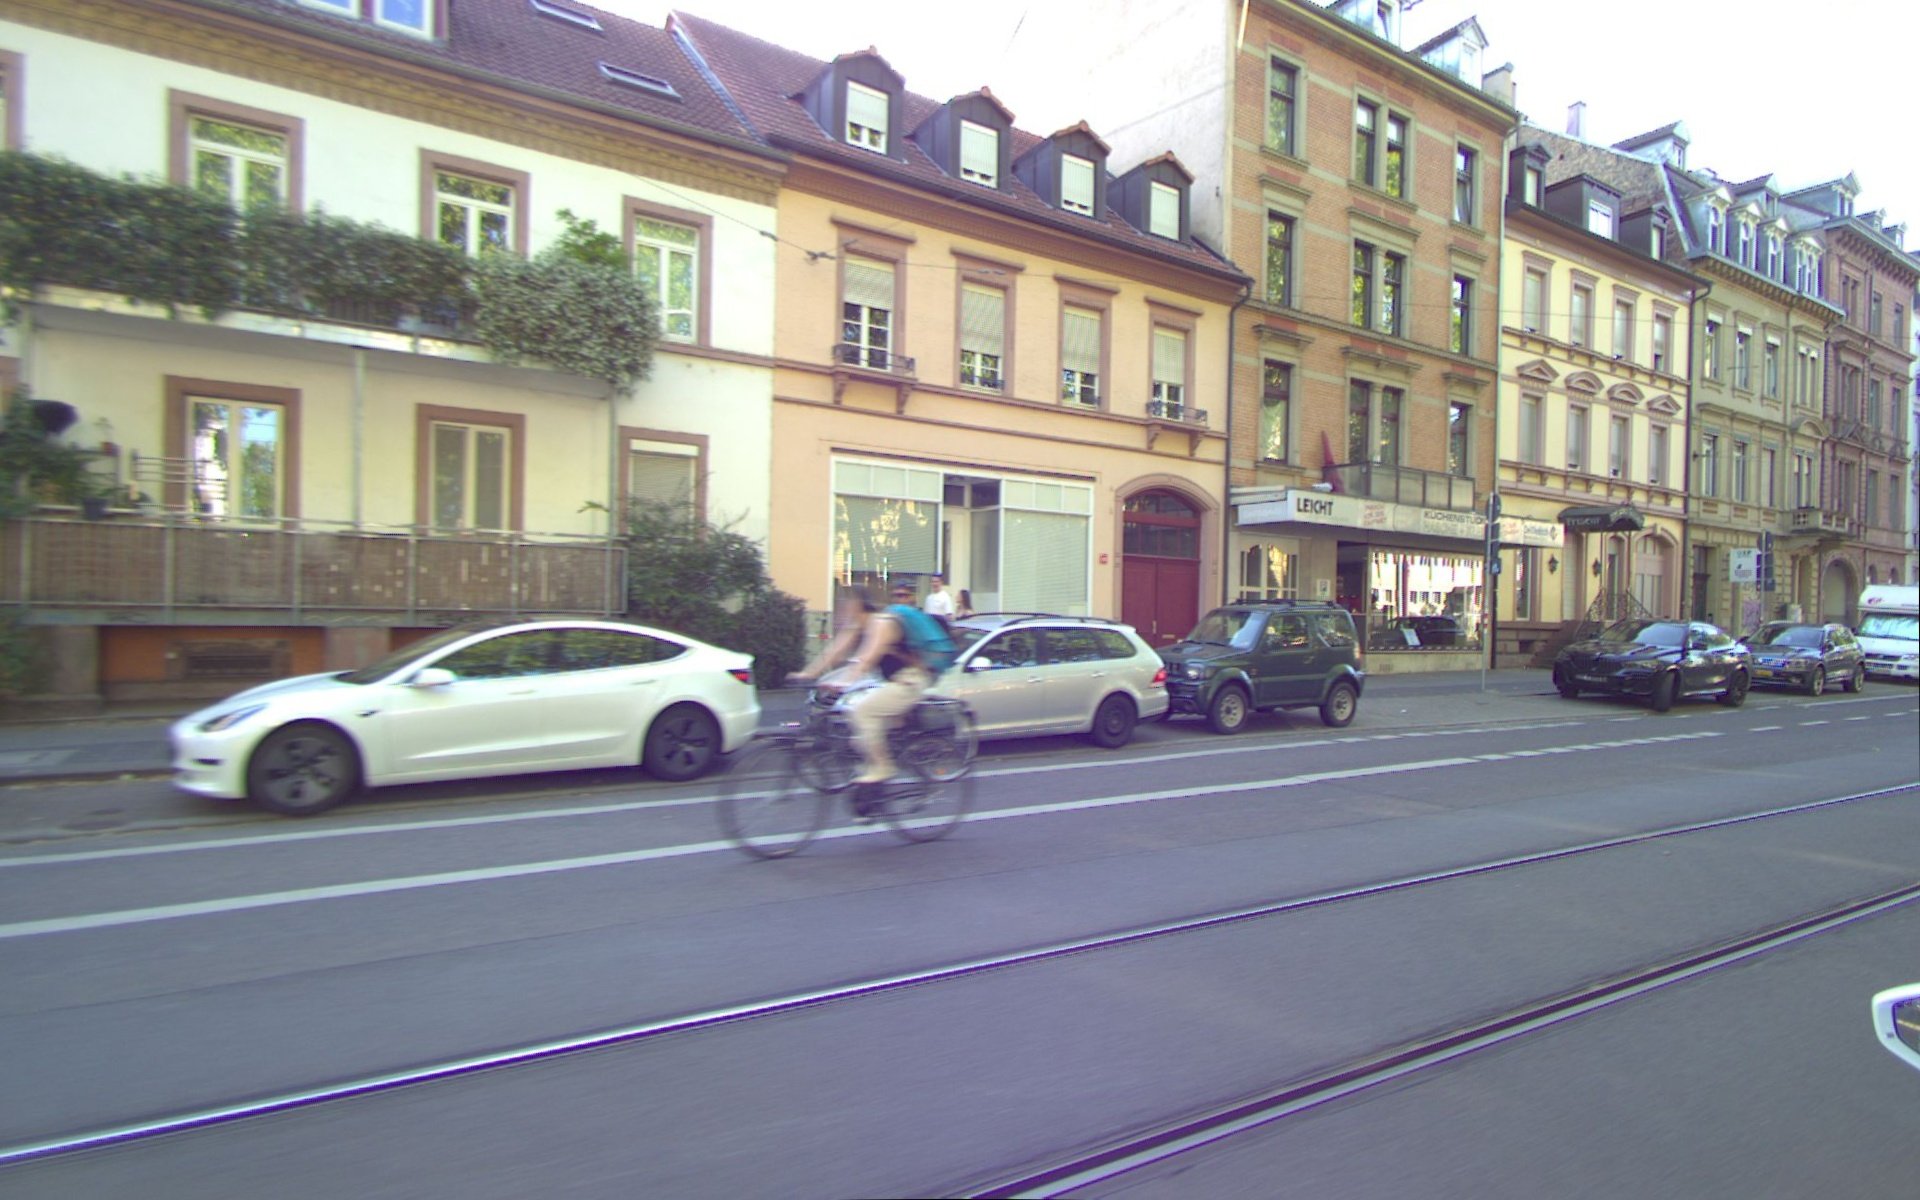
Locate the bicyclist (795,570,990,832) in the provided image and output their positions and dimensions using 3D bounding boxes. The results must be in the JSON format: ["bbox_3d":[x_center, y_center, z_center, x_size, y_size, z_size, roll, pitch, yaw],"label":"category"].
[{"bbox_3d":[-0.430,0.604,6.389,1.057,1.523,0.635,1,-1,-30],"label":"bicyclist"}]

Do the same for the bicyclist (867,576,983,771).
[{"bbox_3d":[-0.310,0.641,8.977,0.886,1.656,0.533,1,-2,-30],"label":"bicyclist"}]

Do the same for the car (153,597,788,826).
[{"bbox_3d":[-4.051,0.801,8.900,4.639,1.523,1.816,1,1,-34],"label":"car"}]

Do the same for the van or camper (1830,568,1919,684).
[{"bbox_3d":[28.875,0.770,29.953,7.029,3.182,2.206,1,1,-30],"label":"van or camper"}]

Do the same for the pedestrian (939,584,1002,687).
[{"bbox_3d":[0.154,0.520,15.027,0.628,1.480,0.653,3,1,43],"label":"pedestrian"}]

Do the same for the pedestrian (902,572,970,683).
[{"bbox_3d":[-0.374,0.407,15.526,0.763,1.656,0.653,3,1,43],"label":"pedestrian"}]

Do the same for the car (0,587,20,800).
[{"bbox_3d":[-8.429,0.664,6.264,3.405,1.583,1.563,1,0,-28],"label":"car"}]

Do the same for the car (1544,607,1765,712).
[{"bbox_3d":[14.223,1.141,20.500,4.885,1.805,1.952,1,2,-33],"label":"car"}]

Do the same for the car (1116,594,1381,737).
[{"bbox_3d":[4.118,0.853,14.207,3.645,1.755,1.547,1,1,-32],"label":"car"}]

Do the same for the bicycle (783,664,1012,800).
[{"bbox_3d":[-0.516,1.117,8.853,2.015,1.061,0.482,1,-2,-30],"label":"bicycle"}]

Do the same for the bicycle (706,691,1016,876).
[{"bbox_3d":[-0.578,1.084,6.285,1.898,0.955,0.496,1,-2,-30],"label":"bicycle"}]

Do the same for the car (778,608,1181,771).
[{"bbox_3d":[0.306,0.916,11.686,4.401,1.523,1.817,1,1,-32],"label":"car"}]

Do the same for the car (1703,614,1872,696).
[{"bbox_3d":[20.456,1.301,24.799,4.422,1.805,1.953,1,1,-33],"label":"car"}]
